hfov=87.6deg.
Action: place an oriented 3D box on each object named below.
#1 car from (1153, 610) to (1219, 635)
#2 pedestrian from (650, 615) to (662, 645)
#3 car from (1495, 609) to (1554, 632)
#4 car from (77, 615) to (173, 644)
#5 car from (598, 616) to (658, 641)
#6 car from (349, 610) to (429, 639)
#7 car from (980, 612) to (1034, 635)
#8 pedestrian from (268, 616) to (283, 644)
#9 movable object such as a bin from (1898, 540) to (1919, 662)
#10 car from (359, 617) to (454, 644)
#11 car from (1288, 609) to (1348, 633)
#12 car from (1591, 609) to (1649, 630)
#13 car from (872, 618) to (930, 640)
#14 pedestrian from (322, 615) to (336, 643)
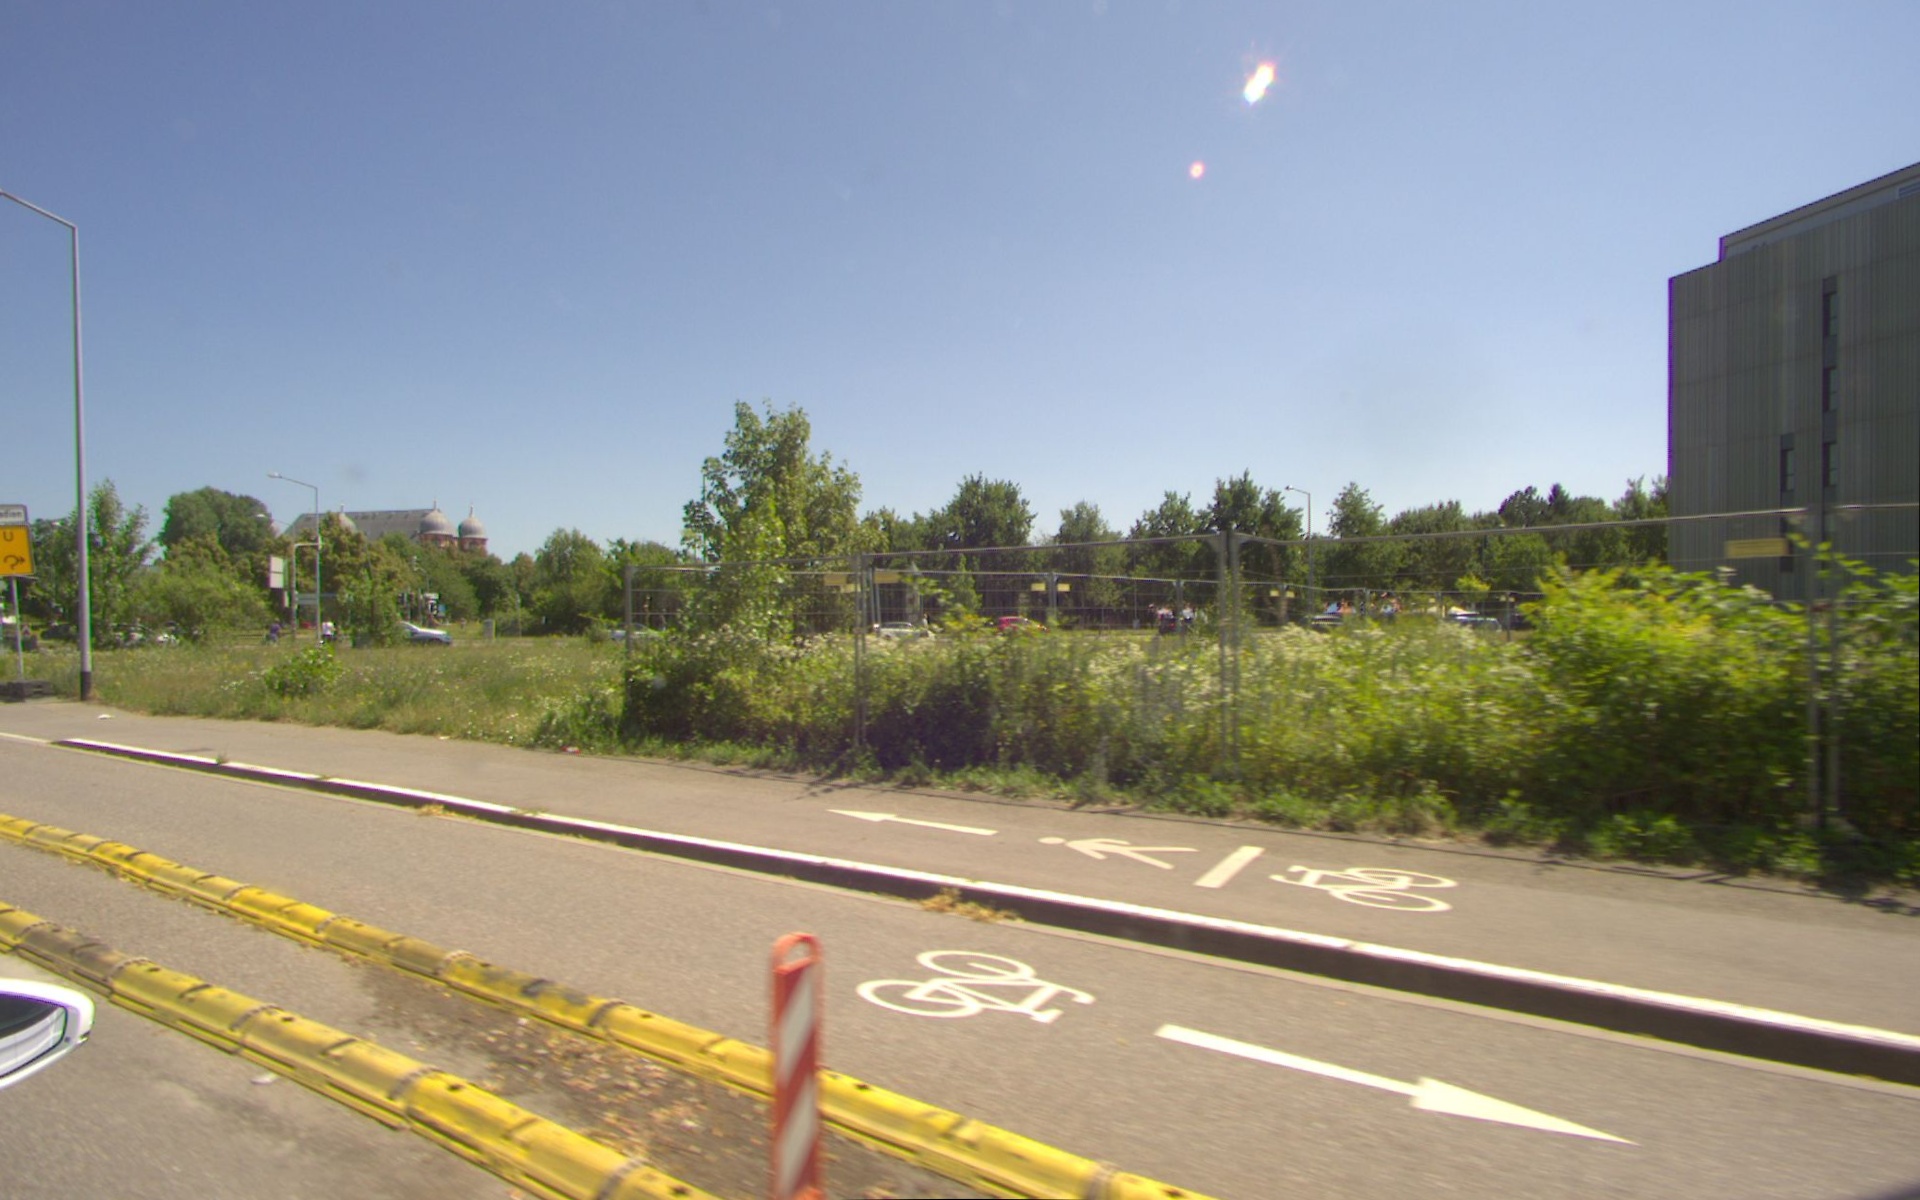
[{"bbox_3d":[15.279,1.535,67.765,3.984,1.639,1.840,0,0,-12],"label":"car"},{"bbox_3d":[-15.525,1.538,51.174,0.559,1.552,0.527,0,0,-22],"label":"pedestrian"},{"bbox_3d":[42.638,1.544,75.628,3.575,1.639,1.840,0,0,-12],"label":"car"},{"bbox_3d":[-39.294,1.370,47.199,3.407,1.292,1.193,0,0,-37],"label":"car"},{"bbox_3d":[-19.139,1.621,57.839,3.269,1.376,1.394,0,0,-18],"label":"car"},{"bbox_3d":[-35.508,1.503,62.355,1.548,1.767,4.054,0,-1,40],"label":"car"},{"bbox_3d":[3.309,1.644,70.710,3.484,1.639,1.791,0,0,-12],"label":"car"},{"bbox_3d":[-32.943,1.421,48.185,0.597,1.328,0.542,0,0,-37],"label":"pedestrian"},{"bbox_3d":[30.093,-0.049,23.923,10.314,3.302,4.932,-1,-1,31],"label":"movable object such as a bin"},{"bbox_3d":[-29.698,1.605,53.872,4.386,1.375,1.531,0,0,-27],"label":"car"},{"bbox_3d":[25.216,1.491,70.574,3.575,1.639,1.840,0,0,-12],"label":"car"},{"bbox_3d":[51.813,1.547,78.615,3.575,1.639,1.840,0,0,-12],"label":"car"},{"bbox_3d":[-3.677,1.794,62.404,3.407,1.335,1.320,0,0,-18],"label":"car"},{"bbox_3d":[-30.666,1.396,48.663,0.538,1.328,0.602,0,0,-26],"label":"pedestrian"}]
